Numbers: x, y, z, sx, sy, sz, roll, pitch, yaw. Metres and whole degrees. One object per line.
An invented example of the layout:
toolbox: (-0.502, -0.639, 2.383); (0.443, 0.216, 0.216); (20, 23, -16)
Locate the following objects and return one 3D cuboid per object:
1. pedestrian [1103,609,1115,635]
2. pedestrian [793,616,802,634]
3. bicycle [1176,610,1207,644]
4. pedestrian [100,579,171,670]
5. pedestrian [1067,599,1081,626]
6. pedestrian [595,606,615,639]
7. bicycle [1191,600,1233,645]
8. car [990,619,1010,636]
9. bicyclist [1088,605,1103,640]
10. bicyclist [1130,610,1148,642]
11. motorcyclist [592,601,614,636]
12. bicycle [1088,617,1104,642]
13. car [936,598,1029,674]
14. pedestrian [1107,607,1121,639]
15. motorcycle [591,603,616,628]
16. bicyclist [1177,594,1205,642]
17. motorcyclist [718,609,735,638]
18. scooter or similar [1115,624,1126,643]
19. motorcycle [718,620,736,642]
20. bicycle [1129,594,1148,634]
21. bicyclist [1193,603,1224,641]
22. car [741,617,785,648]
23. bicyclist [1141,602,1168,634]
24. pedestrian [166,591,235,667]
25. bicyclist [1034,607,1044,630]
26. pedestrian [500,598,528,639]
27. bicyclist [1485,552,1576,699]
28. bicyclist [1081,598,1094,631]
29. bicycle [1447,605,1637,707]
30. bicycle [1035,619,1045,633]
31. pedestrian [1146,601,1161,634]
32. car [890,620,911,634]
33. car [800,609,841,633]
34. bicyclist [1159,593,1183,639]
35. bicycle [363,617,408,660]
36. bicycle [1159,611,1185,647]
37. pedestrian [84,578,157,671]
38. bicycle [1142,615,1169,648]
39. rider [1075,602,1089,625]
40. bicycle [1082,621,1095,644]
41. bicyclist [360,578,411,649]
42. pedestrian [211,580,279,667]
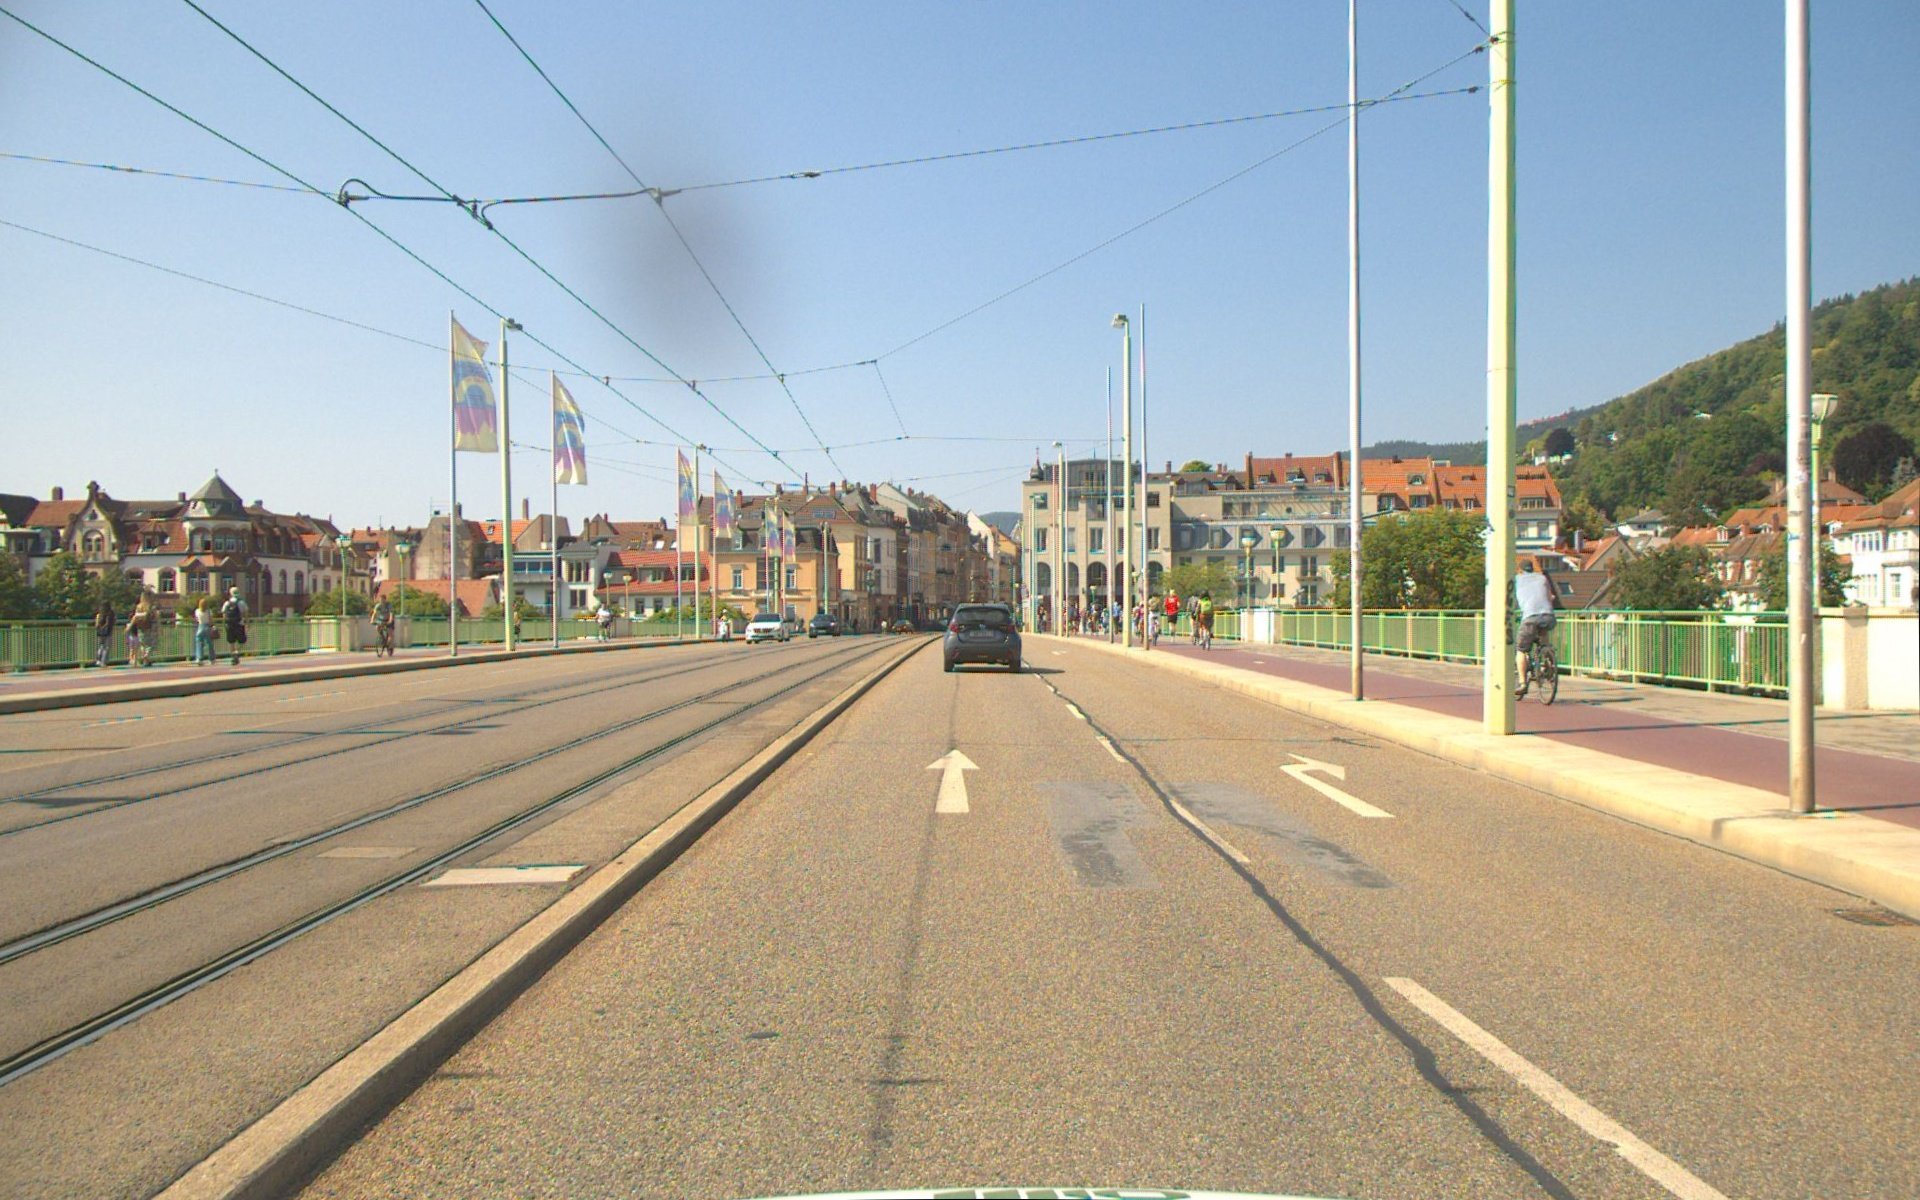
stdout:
pedestrian: (8.558, 1.274, 94.988); (0.601, 1.491, 0.848); (0, -1, 0)
pedestrian: (-15.346, 2.402, 156.221); (0.747, 1.694, 0.663); (0, -1, 2)
bicycle: (7.372, 0.855, 52.762); (0.606, 1.056, 2.265); (0, 0, -2)
pedestrian: (-18.952, 0.553, 38.052); (1.075, 2.049, 1.128); (0, 0, -3)
pedestrian: (7.336, 0.811, 106.534); (0.817, 1.719, 0.869); (-1, 0, 0)
pedestrian: (-18.862, 1.188, 87.940); (0.813, 1.752, 1.094); (0, -1, 0)
bicycle: (7.026, 0.638, 46.274); (0.681, 1.214, 2.077); (-1, -1, -5)
car: (3.830, 2.587, 156.320); (1.766, 1.494, 4.001); (-2, -1, 2)
bicyclist: (6.773, 1.123, 82.605); (0.643, 1.705, 0.869); (0, -1, -1)
bicyclist: (6.353, 0.931, 58.789); (0.586, 1.121, 0.853); (0, -1, 10)
motorcyclist: (-16.167, 0.846, 74.891); (0.784, 1.576, 1.069); (0, -1, -1)
bicycle: (6.782, 1.471, 82.564); (0.581, 1.199, 1.939); (0, 0, -1)
car: (0.459, 0.758, 37.449); (1.872, 1.567, 3.998); (-1, 0, -2)
pedestrian: (8.834, 1.311, 94.831); (0.698, 1.842, 0.848); (0, -1, 0)
motorcycle: (-16.155, 0.696, 74.956); (0.686, 1.129, 2.178); (0, 0, 0)
bicyclist: (7.376, 0.579, 52.767); (0.720, 1.527, 0.980); (0, -1, -2)
motorcyclist: (-12.774, 1.274, 90.347); (0.810, 1.601, 0.832); (0, -1, -1)
scooter or similar: (9.628, 2.019, 99.322); (0.576, 1.088, 0.865); (0, 0, -2)
motorcycle: (-12.713, 1.678, 90.204); (0.686, 1.129, 2.178); (0, 0, 0)
bicycle: (6.326, 0.501, 58.602); (0.523, 1.391, 2.218); (0, 0, 10)
bicyclist: (6.995, 0.618, 46.631); (0.653, 1.063, 0.979); (0, 0, -5)
car: (-9.622, 1.556, 80.402); (1.957, 1.434, 4.537); (0, 0, -9)
bicyclist: (6.441, 0.596, 54.703); (0.720, 1.048, 1.175); (0, 0, -2)
pedestrian: (-18.048, 0.676, 39.336); (1.075, 1.759, 1.294); (0, 0, -3)
bicyclist: (5.694, 1.331, 118.627); (0.639, 1.594, 1.338); (-2, -1, 2)
pedestrian: (-18.713, 0.770, 69.403); (0.880, 1.687, 1.029); (0, -1, 2)
bicyclist: (7.091, 0.307, 20.603); (0.660, 1.774, 1.149); (-1, 0, -4)
bicyclist: (6.766, 0.765, 87.881); (0.615, 1.719, 0.868); (0, -1, -1)
bicycle: (7.104, 0.640, 20.487); (0.777, 1.115, 3.741); (-1, 0, -4)
bicycle: (5.720, 1.861, 118.772); (0.639, 0.999, 2.178); (-2, -1, 2)
pedestrian: (9.413, 0.838, 80.357); (0.587, 1.614, 0.866); (0, -1, -2)
car: (-6.779, 3.069, 187.848); (1.951, 1.505, 4.002); (0, 0, 4)
car: (-9.645, 1.458, 114.801); (1.951, 1.627, 4.341); (0, 0, 7)
bicyclist: (7.688, 0.571, 60.315); (0.720, 1.664, 0.866); (0, -1, -2)
bicycle: (-16.417, 1.096, 47.306); (0.577, 1.115, 2.112); (-4, 0, -2)
bicycle: (7.711, 1.033, 60.230); (0.606, 1.293, 2.215); (0, 0, -2)
pedestrian: (-18.807, 0.545, 37.073); (1.075, 2.049, 1.128); (0, 0, -3)
bicycle: (6.448, 1.030, 54.560); (0.606, 1.056, 2.050); (0, 0, -2)
rider: (8.206, 0.902, 111.138); (0.871, 1.531, 0.841); (0, -1, -1)
bicycle: (6.858, 1.746, 88.198); (0.515, 1.199, 2.028); (0, 0, -1)
bicyclist: (-16.395, 0.372, 47.239); (1.075, 1.995, 1.128); (0, 0, -3)
pedestrian: (-17.057, 0.548, 39.474); (1.075, 2.049, 1.294); (0, 0, -3)
